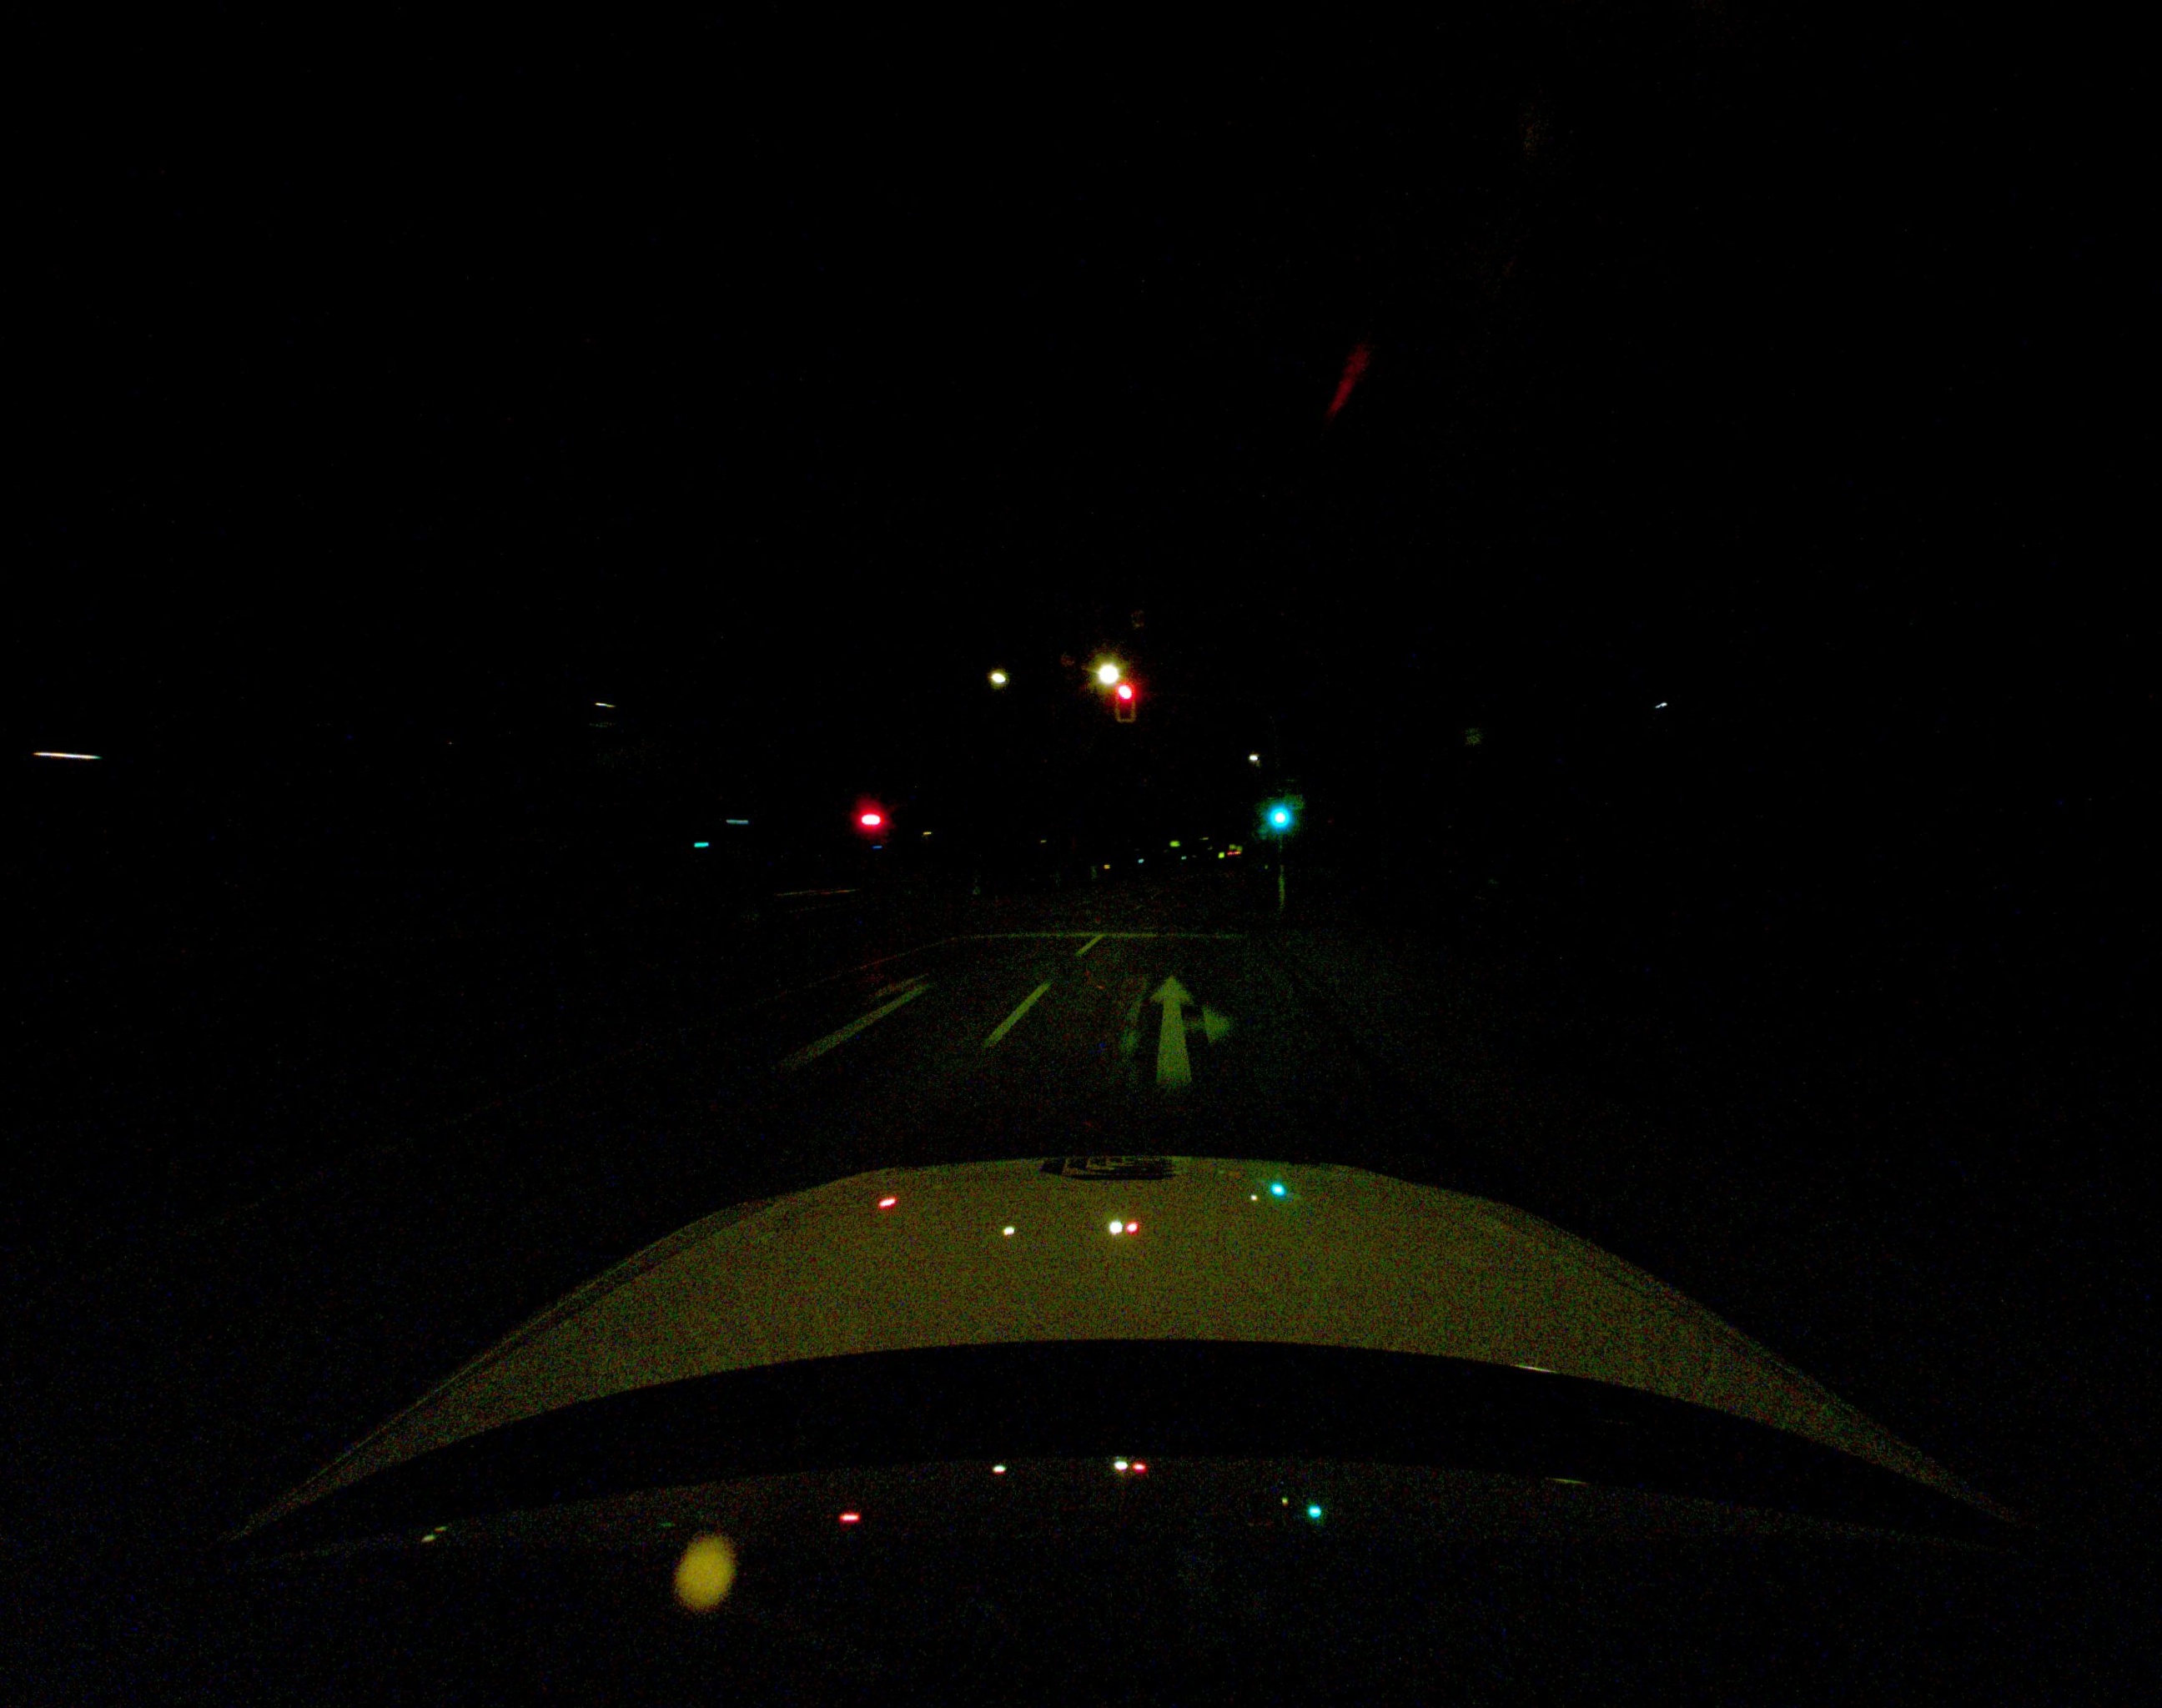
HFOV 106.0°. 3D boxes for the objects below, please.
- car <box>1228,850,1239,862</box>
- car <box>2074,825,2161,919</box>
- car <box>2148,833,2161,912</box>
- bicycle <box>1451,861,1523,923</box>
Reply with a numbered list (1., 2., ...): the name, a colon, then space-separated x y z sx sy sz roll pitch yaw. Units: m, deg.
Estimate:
1. car: 28.226 0.301 150.511 1.981 2.014 4.011 -1 -3 11
2. car: 19.731 0.285 13.327 1.815 1.615 4.068 -1 0 -22
3. car: 22.048 0.316 14.210 1.764 1.515 3.841 -1 0 -22
4. bicycle: 7.002 0.663 14.129 0.294 0.982 1.945 -2 -3 2
